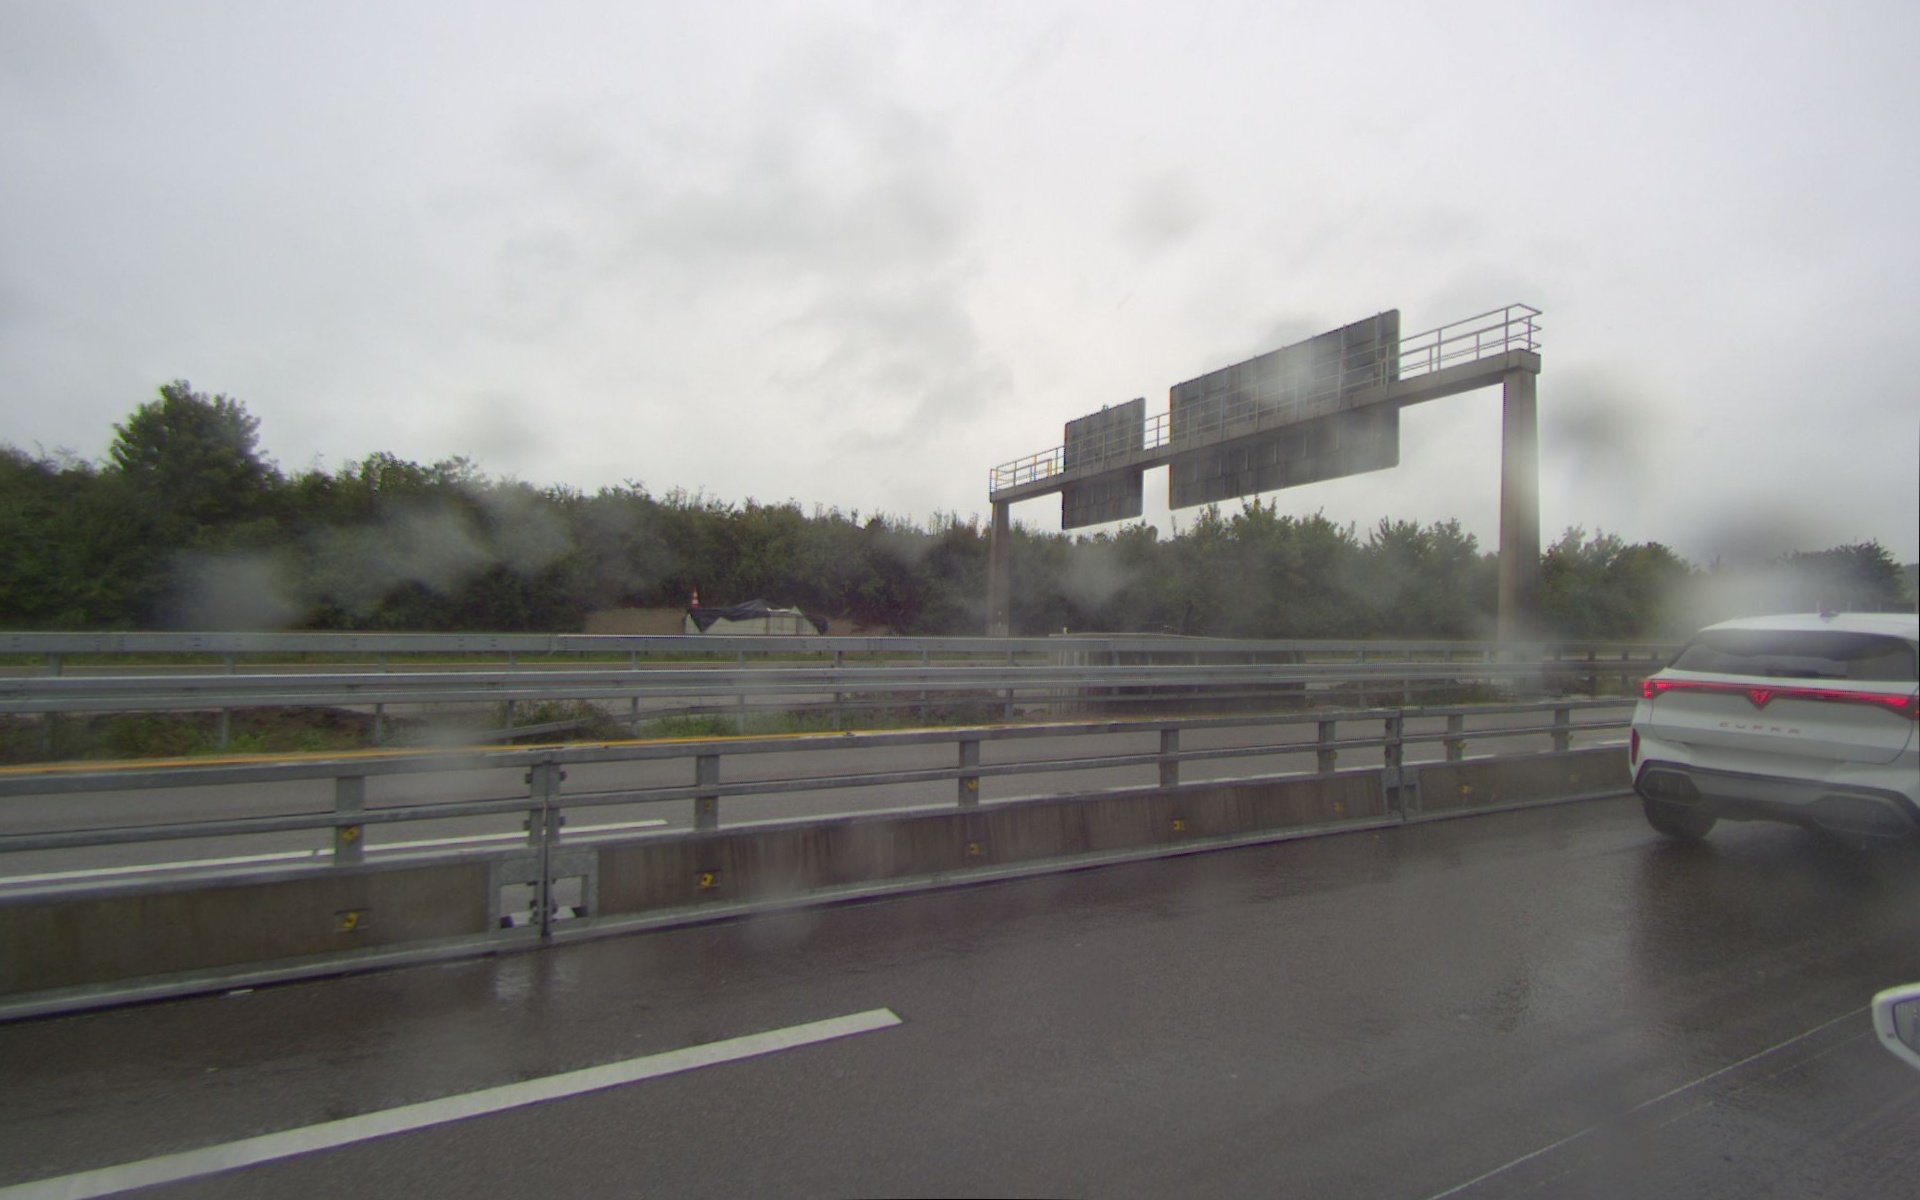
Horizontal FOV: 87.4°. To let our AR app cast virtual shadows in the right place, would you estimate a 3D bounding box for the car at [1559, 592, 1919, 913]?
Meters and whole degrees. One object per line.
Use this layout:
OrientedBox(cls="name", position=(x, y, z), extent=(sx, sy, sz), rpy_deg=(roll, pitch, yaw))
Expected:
OrientedBox(cls="car", position=(6.580, 0.847, 7.086), extent=(4.740, 1.639, 1.984), rpy_deg=(2, 0, -30))
